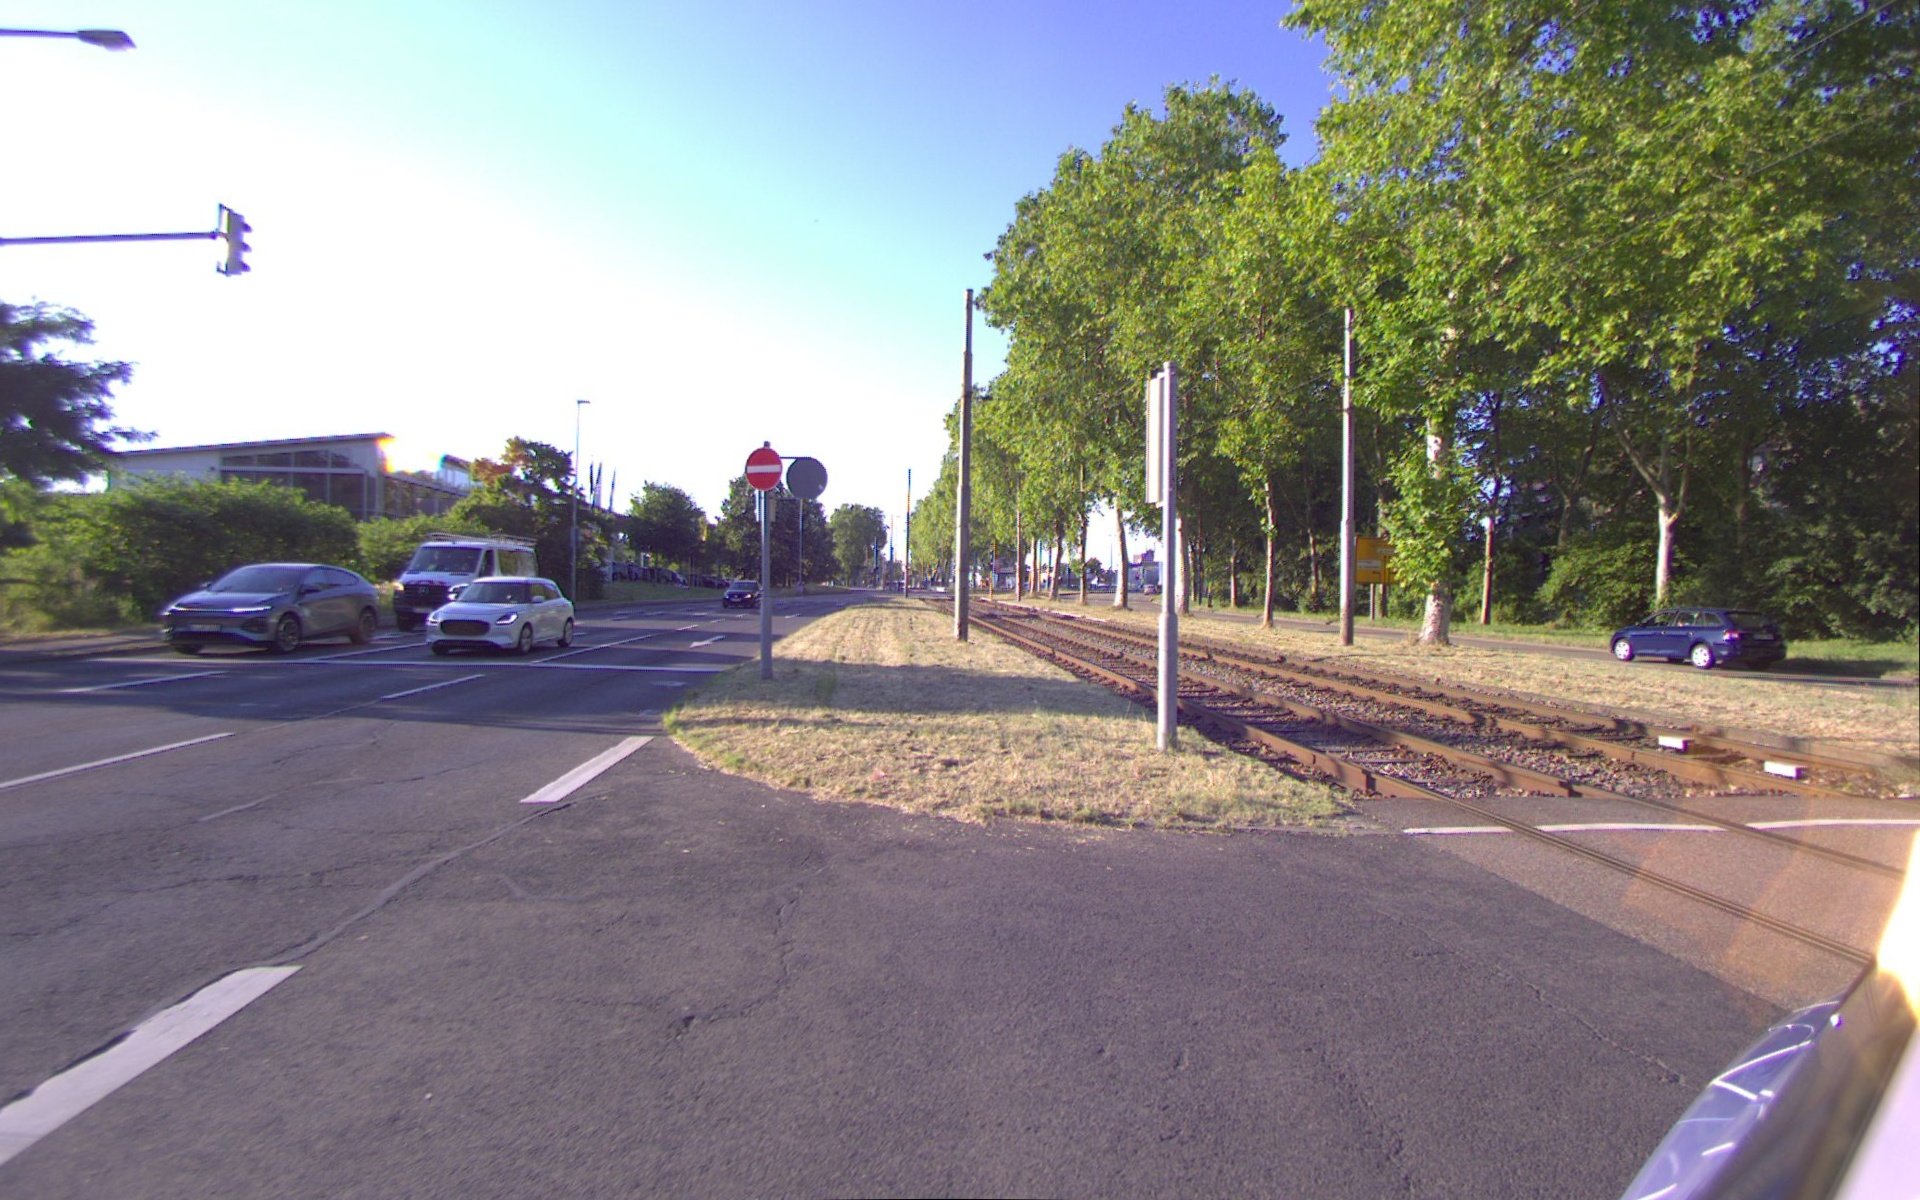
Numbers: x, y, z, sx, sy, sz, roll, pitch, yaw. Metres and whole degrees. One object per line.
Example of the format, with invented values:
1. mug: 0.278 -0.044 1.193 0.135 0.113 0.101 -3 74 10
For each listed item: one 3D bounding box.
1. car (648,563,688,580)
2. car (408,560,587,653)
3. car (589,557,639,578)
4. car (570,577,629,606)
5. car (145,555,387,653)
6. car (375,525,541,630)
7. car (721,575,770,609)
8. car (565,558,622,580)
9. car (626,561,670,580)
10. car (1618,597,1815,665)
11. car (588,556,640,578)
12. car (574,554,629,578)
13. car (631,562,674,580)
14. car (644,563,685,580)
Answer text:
1. car: -29.756 -2.849 103.217 3.720 1.587 1.763 2 0 -23
2. car: -9.131 0.090 20.363 1.840 1.638 4.001 2 1 -1
3. car: -27.981 -2.614 81.823 3.720 1.587 1.763 2 0 -23
4. car: -25.131 -0.577 70.463 3.720 1.883 1.763 2 0 -23
5. car: -13.207 0.042 19.666 1.839 1.638 4.552 2 1 -5
6. car: -13.781 -0.605 28.275 1.970 2.562 5.881 2 1 -4
7. car: -11.482 -0.440 54.508 1.780 1.705 4.000 1 1 0
8. car: -26.296 -2.193 72.660 3.720 1.406 1.763 2 0 -23
9. car: -29.047 -2.752 94.272 3.720 1.587 1.763 2 0 -23
10. car: 18.375 0.687 24.828 1.598 1.460 3.989 2 0 -4
11. car: -27.235 -2.572 79.578 3.720 1.587 1.763 2 0 -23
12. car: -26.822 -2.526 75.663 3.720 1.587 1.763 2 0 -23
13. car: -29.478 -2.789 97.059 3.720 1.587 1.763 2 0 -23
14. car: -29.312 -2.812 100.447 3.720 1.587 1.763 2 0 -23
